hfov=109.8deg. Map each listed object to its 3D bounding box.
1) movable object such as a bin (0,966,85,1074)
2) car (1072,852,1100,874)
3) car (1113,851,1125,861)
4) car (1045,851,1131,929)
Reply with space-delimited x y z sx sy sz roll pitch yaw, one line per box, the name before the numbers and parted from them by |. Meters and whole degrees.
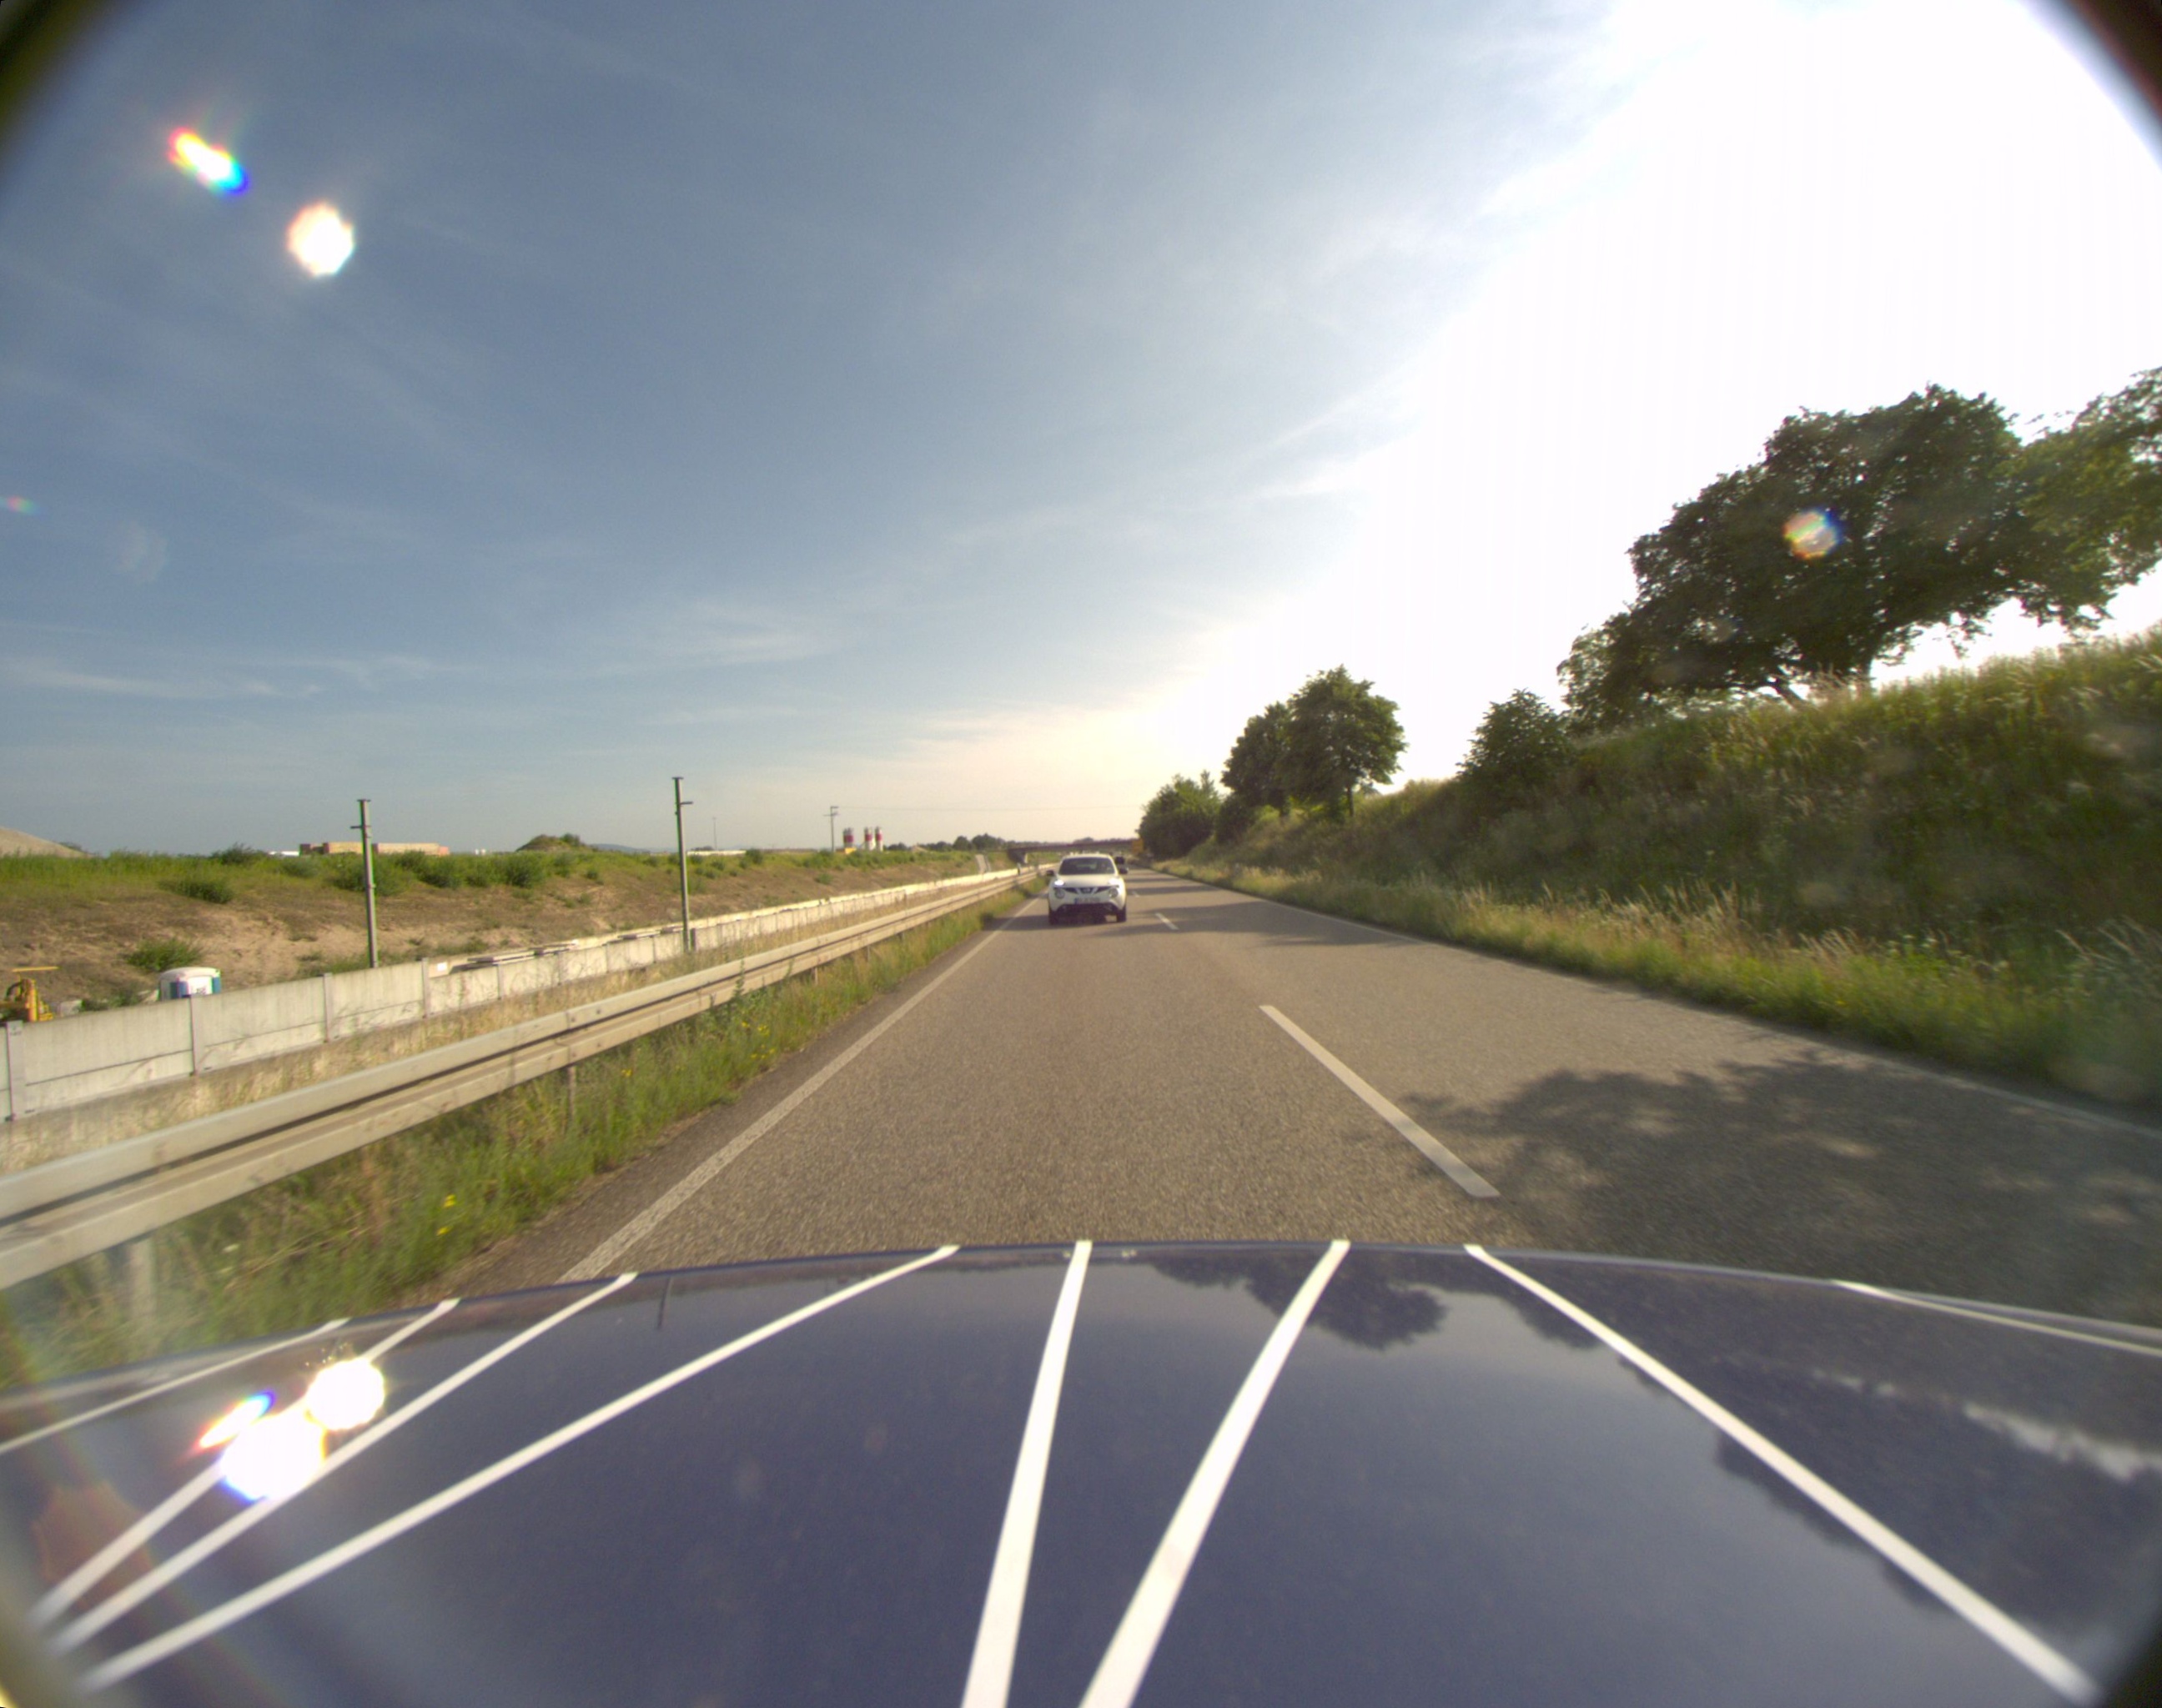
movable object such as a bin | -30.328 4.668 21.466 2.906 2.646 2.023 -2 1 26
car | 0.446 0.620 56.706 1.908 1.512 4.465 -3 0 2
car | 6.430 0.318 127.648 1.747 1.538 4.311 -2 0 0
car | 0.161 0.778 18.807 1.789 1.593 4.571 -3 0 0
